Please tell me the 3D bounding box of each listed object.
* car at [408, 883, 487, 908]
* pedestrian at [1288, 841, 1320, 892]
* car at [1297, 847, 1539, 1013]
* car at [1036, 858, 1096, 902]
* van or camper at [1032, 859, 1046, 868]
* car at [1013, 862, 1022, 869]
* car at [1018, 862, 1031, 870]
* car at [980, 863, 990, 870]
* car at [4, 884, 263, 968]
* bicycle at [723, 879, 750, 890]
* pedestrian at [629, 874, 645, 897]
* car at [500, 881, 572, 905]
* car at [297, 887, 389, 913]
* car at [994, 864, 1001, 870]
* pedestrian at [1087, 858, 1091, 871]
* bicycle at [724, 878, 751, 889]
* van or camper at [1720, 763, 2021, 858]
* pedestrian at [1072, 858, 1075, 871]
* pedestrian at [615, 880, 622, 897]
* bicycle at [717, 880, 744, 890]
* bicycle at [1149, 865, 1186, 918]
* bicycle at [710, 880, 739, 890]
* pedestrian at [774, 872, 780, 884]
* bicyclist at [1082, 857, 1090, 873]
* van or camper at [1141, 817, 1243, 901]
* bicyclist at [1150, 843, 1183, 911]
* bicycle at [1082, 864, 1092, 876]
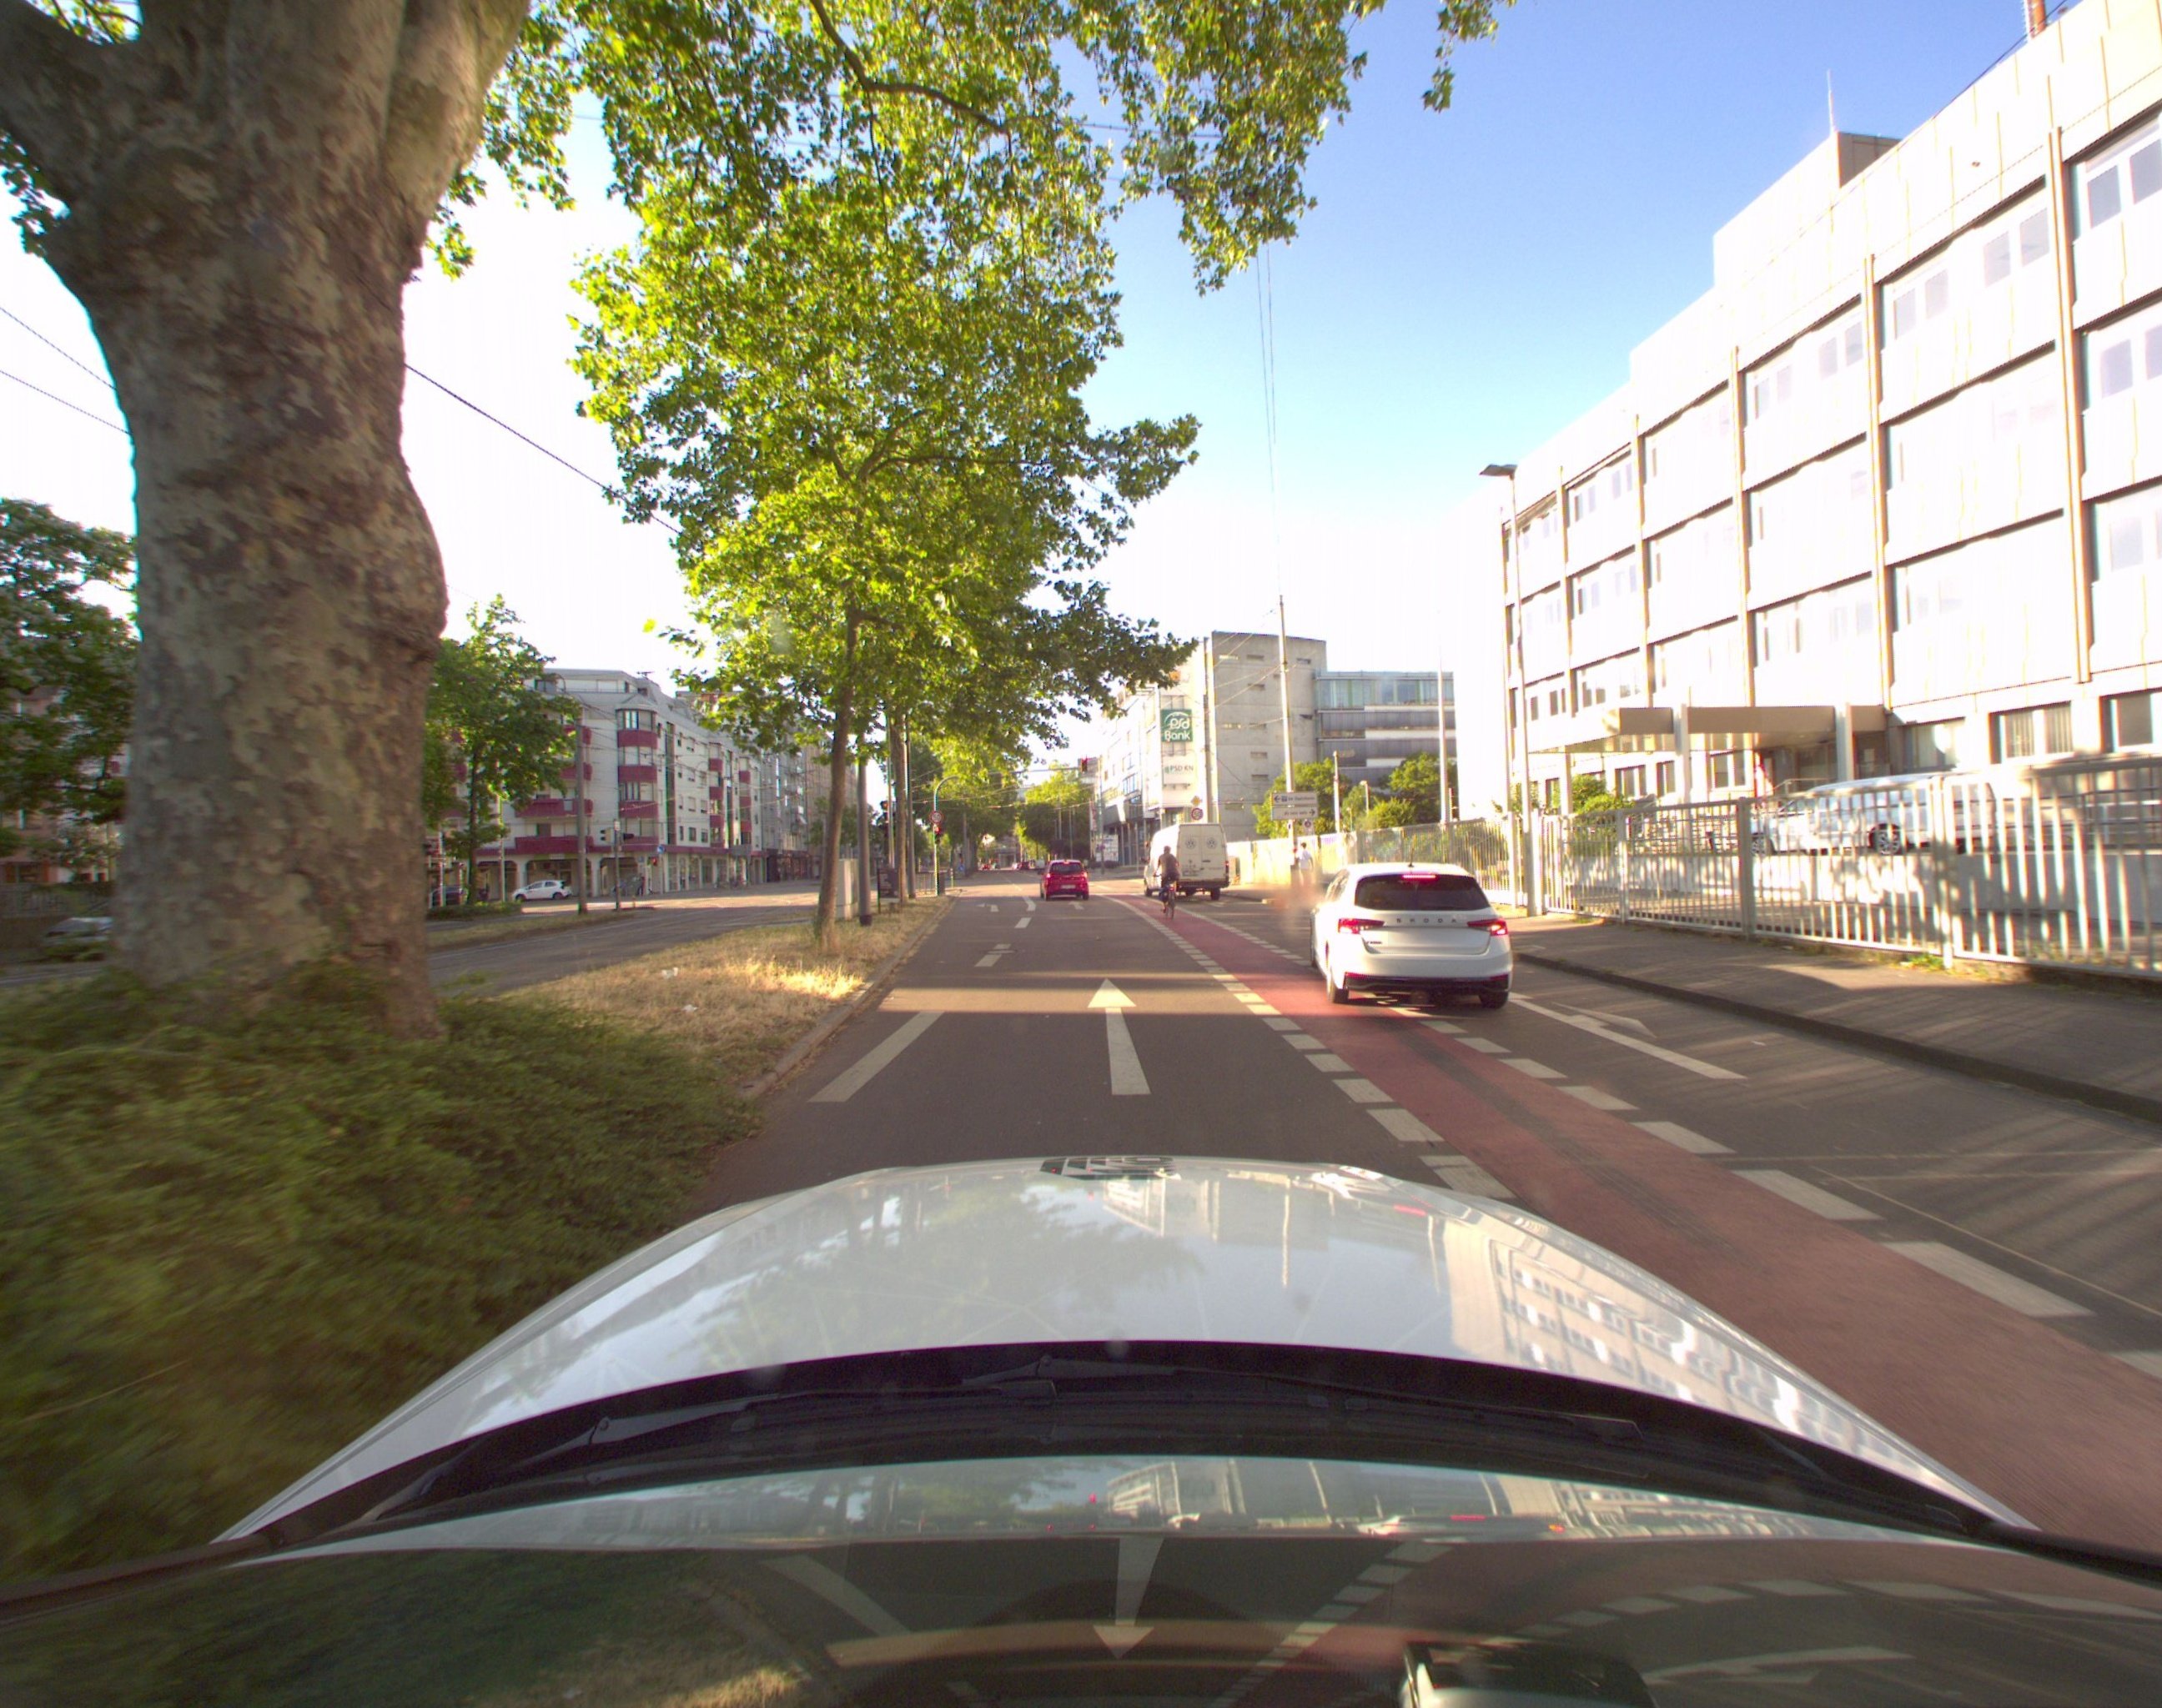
[{"bbox_3d":[-45.170,2.965,58.161,4.000,1.464,1.790,-3,0,-20],"label":"car"},{"bbox_3d":[7.916,0.446,28.958,0.786,1.748,0.769,-3,0,-10],"label":"pedestrian"},{"bbox_3d":[3.598,0.713,9.452,1.790,1.501,3.993,-1,0,11],"label":"car"},{"bbox_3d":[-0.632,0.925,30.829,1.838,1.489,3.707,-2,0,-7],"label":"car"},{"bbox_3d":[-8.001,1.828,155.947,2.146,1.750,4.416,-3,0,-10],"label":"van or camper"},{"bbox_3d":[-15.639,2.773,200.665,1.885,1.528,4.416,-3,0,-10],"label":"car"},{"bbox_3d":[-12.440,2.572,179.471,2.477,1.528,4.418,-3,0,-9],"label":"car"},{"bbox_3d":[-23.126,3.010,196.758,2.059,1.654,3.478,-3,0,-12],"label":"car"},{"bbox_3d":[-23.593,1.708,20.578,1.993,1.689,4.164,-2,0,-9],"label":"car"},{"bbox_3d":[-31.644,2.787,74.755,2.170,0.824,0.526,-3,0,-11],"label":"bicycle"},{"bbox_3d":[-33.348,2.364,61.187,0.709,1.662,1.029,-3,0,-12],"label":"pedestrian"},{"bbox_3d":[-40.062,2.840,59.935,3.999,1.464,1.790,-3,0,-19],"label":"car"},{"bbox_3d":[-51.114,3.158,56.493,4.268,1.464,1.791,-3,0,-18],"label":"car"},{"bbox_3d":[-21.477,3.360,208.751,1.657,1.607,3.521,-3,0,-8],"label":"car"},{"bbox_3d":[1.008,1.246,100.514,0.310,1.562,0.297,-3,-1,24],"label":"pedestrian"},{"bbox_3d":[-31.769,2.713,75.387,2.170,0.951,0.490,-3,0,-11],"label":"bicycle"},{"bbox_3d":[18.468,-0.906,19.493,1.979,1.909,4.986,-3,0,-8],"label":"van or camper"},{"bbox_3d":[-0.890,1.306,101.020,0.293,1.562,0.302,-3,-1,-5],"label":"pedestrian"},{"bbox_3d":[-35.434,2.638,62.376,0.304,1.214,0.317,-3,0,-12],"label":"pedestrian"},{"bbox_3d":[-31.628,2.779,73.454,2.170,0.787,0.490,-3,0,-11],"label":"bicycle"},{"bbox_3d":[2.152,0.904,20.498,0.741,1.224,2.156,-1,0,1],"label":"bicycle"},{"bbox_3d":[-31.778,2.768,72.605,2.170,0.787,0.638,-3,0,-11],"label":"bicycle"},{"bbox_3d":[-37.871,3.030,101.582,0.510,1.459,0.527,-3,-1,-7],"label":"pedestrian"},{"bbox_3d":[0.529,1.190,84.899,0.783,1.635,0.638,-2,0,-3],"label":"bicyclist"},{"bbox_3d":[3.848,0.183,29.633,2.266,2.734,6.333,0,-1,-6],"label":"van or camper"},{"bbox_3d":[2.151,0.566,20.520,0.740,1.669,0.745,-1,0,0],"label":"bicyclist"},{"bbox_3d":[0.591,1.686,84.217,0.791,1.161,2.496,-2,0,-4],"label":"bicycle"}]
